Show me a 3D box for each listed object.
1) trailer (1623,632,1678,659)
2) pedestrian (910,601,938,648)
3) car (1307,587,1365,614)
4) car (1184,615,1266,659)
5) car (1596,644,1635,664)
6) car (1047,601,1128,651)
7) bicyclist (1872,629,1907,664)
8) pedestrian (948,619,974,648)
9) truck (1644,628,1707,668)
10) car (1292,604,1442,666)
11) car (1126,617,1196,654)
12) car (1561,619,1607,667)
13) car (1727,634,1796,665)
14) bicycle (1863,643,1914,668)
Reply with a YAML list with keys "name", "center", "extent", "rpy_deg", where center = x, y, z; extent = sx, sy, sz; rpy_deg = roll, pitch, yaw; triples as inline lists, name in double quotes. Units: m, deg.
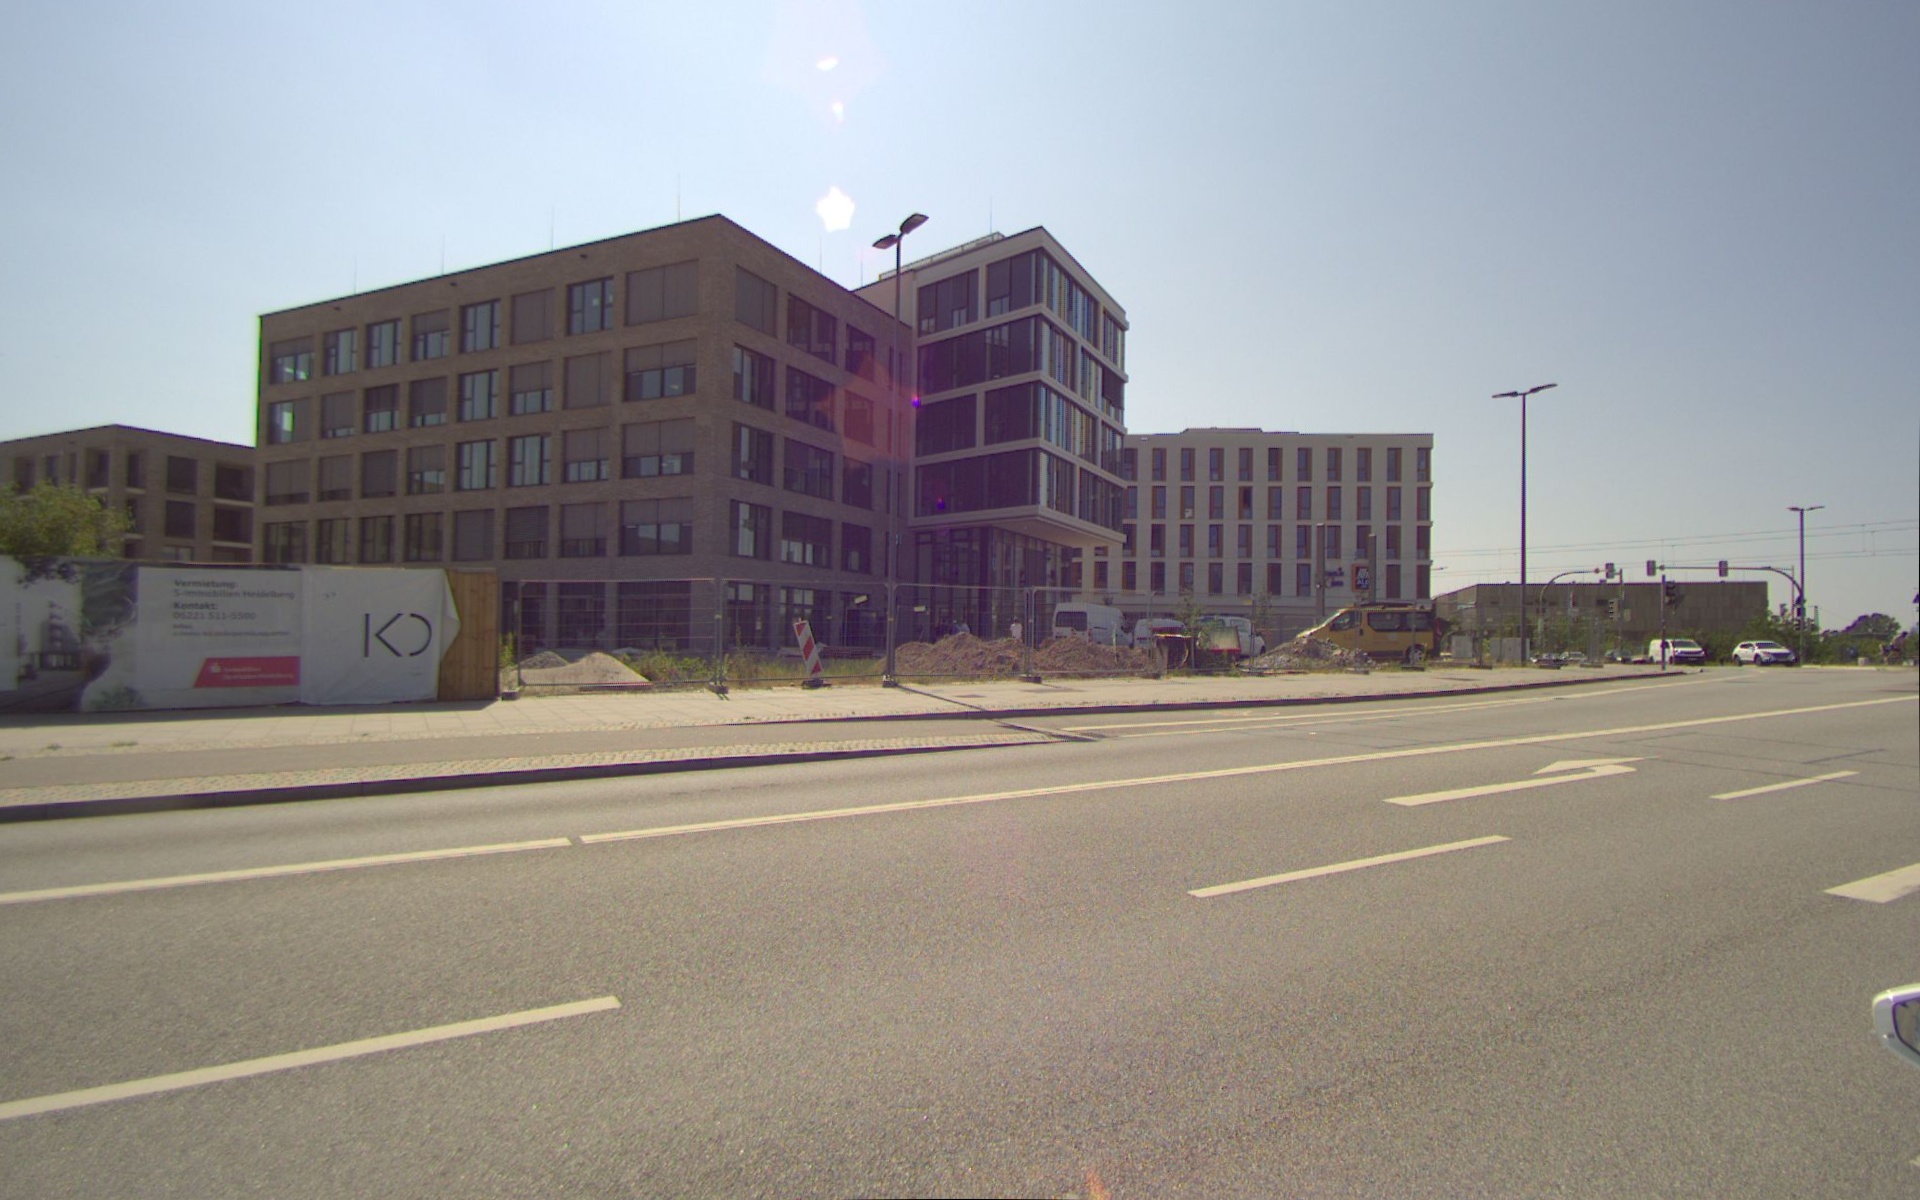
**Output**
- name: "trailer"
  center: [51.135, 3.346, 74.501]
  extent: [1.960, 1.799, 4.288]
  rpy_deg: [2, 0, 14]
- name: "pedestrian"
  center: [-1.599, 1.079, 44.284]
  extent: [0.949, 2.040, 0.940]
  rpy_deg: [2, 0, -17]
- name: "car"
  center: [31.011, 0.030, 82.902]
  extent: [1.986, 2.040, 3.949]
  rpy_deg: [2, 0, -43]
- name: "car"
  center: [11.459, 1.553, 43.215]
  extent: [1.968, 1.730, 4.547]
  rpy_deg: [2, 0, 34]
- name: "car"
  center: [52.913, 4.370, 81.100]
  extent: [1.633, 1.408, 3.788]
  rpy_deg: [2, 0, 18]
- name: "car"
  center: [5.870, 1.176, 45.760]
  extent: [2.175, 2.083, 4.164]
  rpy_deg: [2, 0, 30]
- name: "bicyclist"
  center: [44.814, 2.223, 48.437]
  extent: [0.931, 1.631, 0.773]
  rpy_deg: [2, 0, -6]
- name: "pedestrian"
  center: [0.033, 1.669, 50.508]
  extent: [1.098, 1.391, 0.742]
  rpy_deg: [2, 0, -17]
- name: "truck"
  center: [49.936, 3.305, 70.203]
  extent: [1.960, 2.574, 4.711]
  rpy_deg: [1, -1, 14]
- name: "car"
  center: [13.989, 1.179, 34.758]
  extent: [4.395, 1.915, 2.001]
  rpy_deg: [2, 0, 9]
- name: "car"
  center: [8.996, 1.551, 44.686]
  extent: [1.774, 1.528, 3.991]
  rpy_deg: [2, 0, 31]
- name: "car"
  center: [28.474, 1.908, 45.859]
  extent: [1.646, 2.040, 3.991]
  rpy_deg: [2, 0, 32]
- name: "car"
  center: [51.826, 3.171, 65.036]
  extent: [1.892, 1.839, 4.049]
  rpy_deg: [1, -1, 13]
- name: "bicycle"
  center: [44.753, 2.683, 48.435]
  extent: [0.567, 1.082, 1.870]
  rpy_deg: [2, 0, -7]
